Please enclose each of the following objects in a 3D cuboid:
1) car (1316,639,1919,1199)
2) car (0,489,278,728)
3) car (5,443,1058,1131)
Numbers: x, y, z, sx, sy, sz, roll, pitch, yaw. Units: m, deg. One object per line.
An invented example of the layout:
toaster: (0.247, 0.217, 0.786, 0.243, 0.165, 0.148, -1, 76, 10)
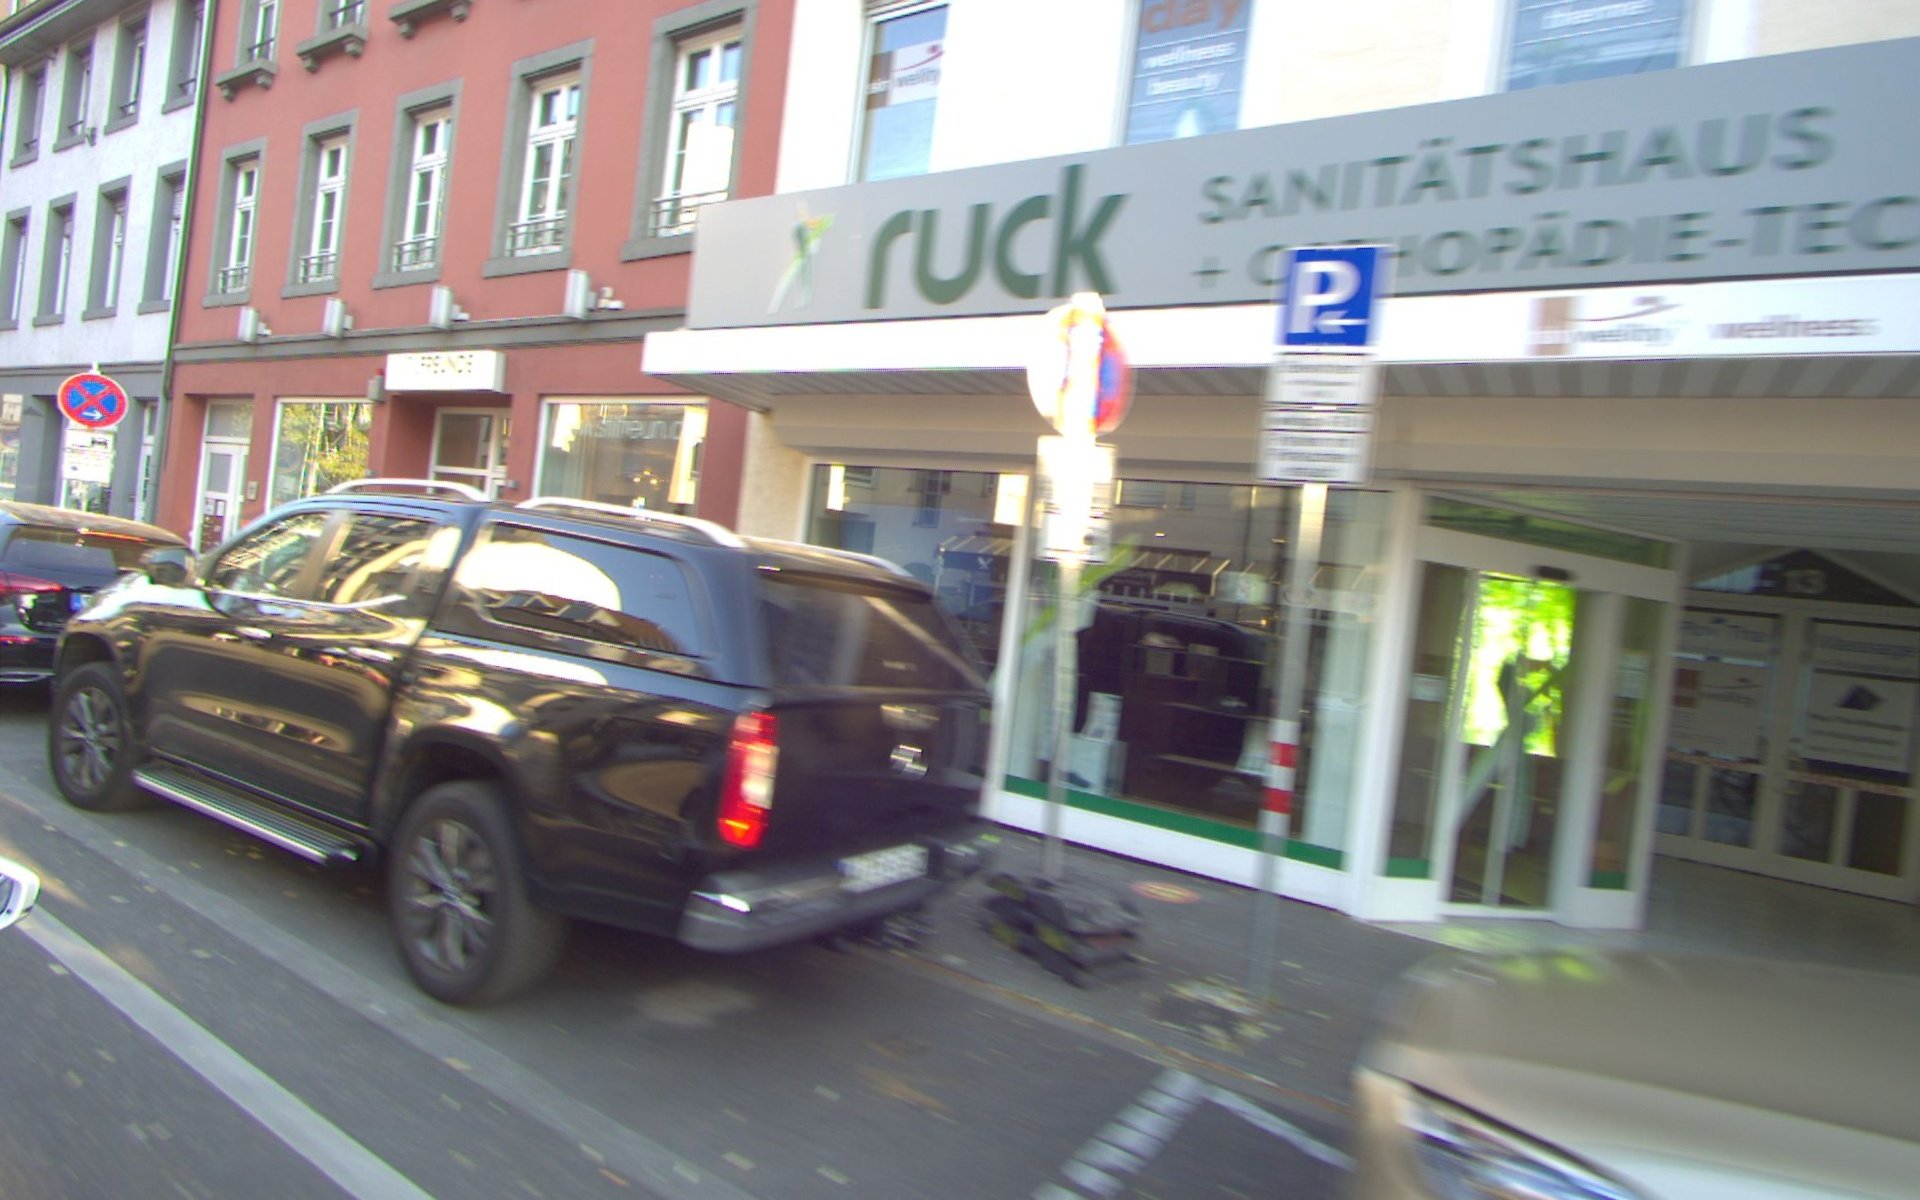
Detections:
car: (3.099, 1.149, 0.997, 4.913, 1.545, 1.814, 6, -2, 34)
car: (-7.473, -0.079, 7.988, 4.236, 1.501, 1.765, 7, -2, 33)
car: (-2.274, 0.398, 4.805, 4.973, 1.775, 1.887, 7, -1, 30)
